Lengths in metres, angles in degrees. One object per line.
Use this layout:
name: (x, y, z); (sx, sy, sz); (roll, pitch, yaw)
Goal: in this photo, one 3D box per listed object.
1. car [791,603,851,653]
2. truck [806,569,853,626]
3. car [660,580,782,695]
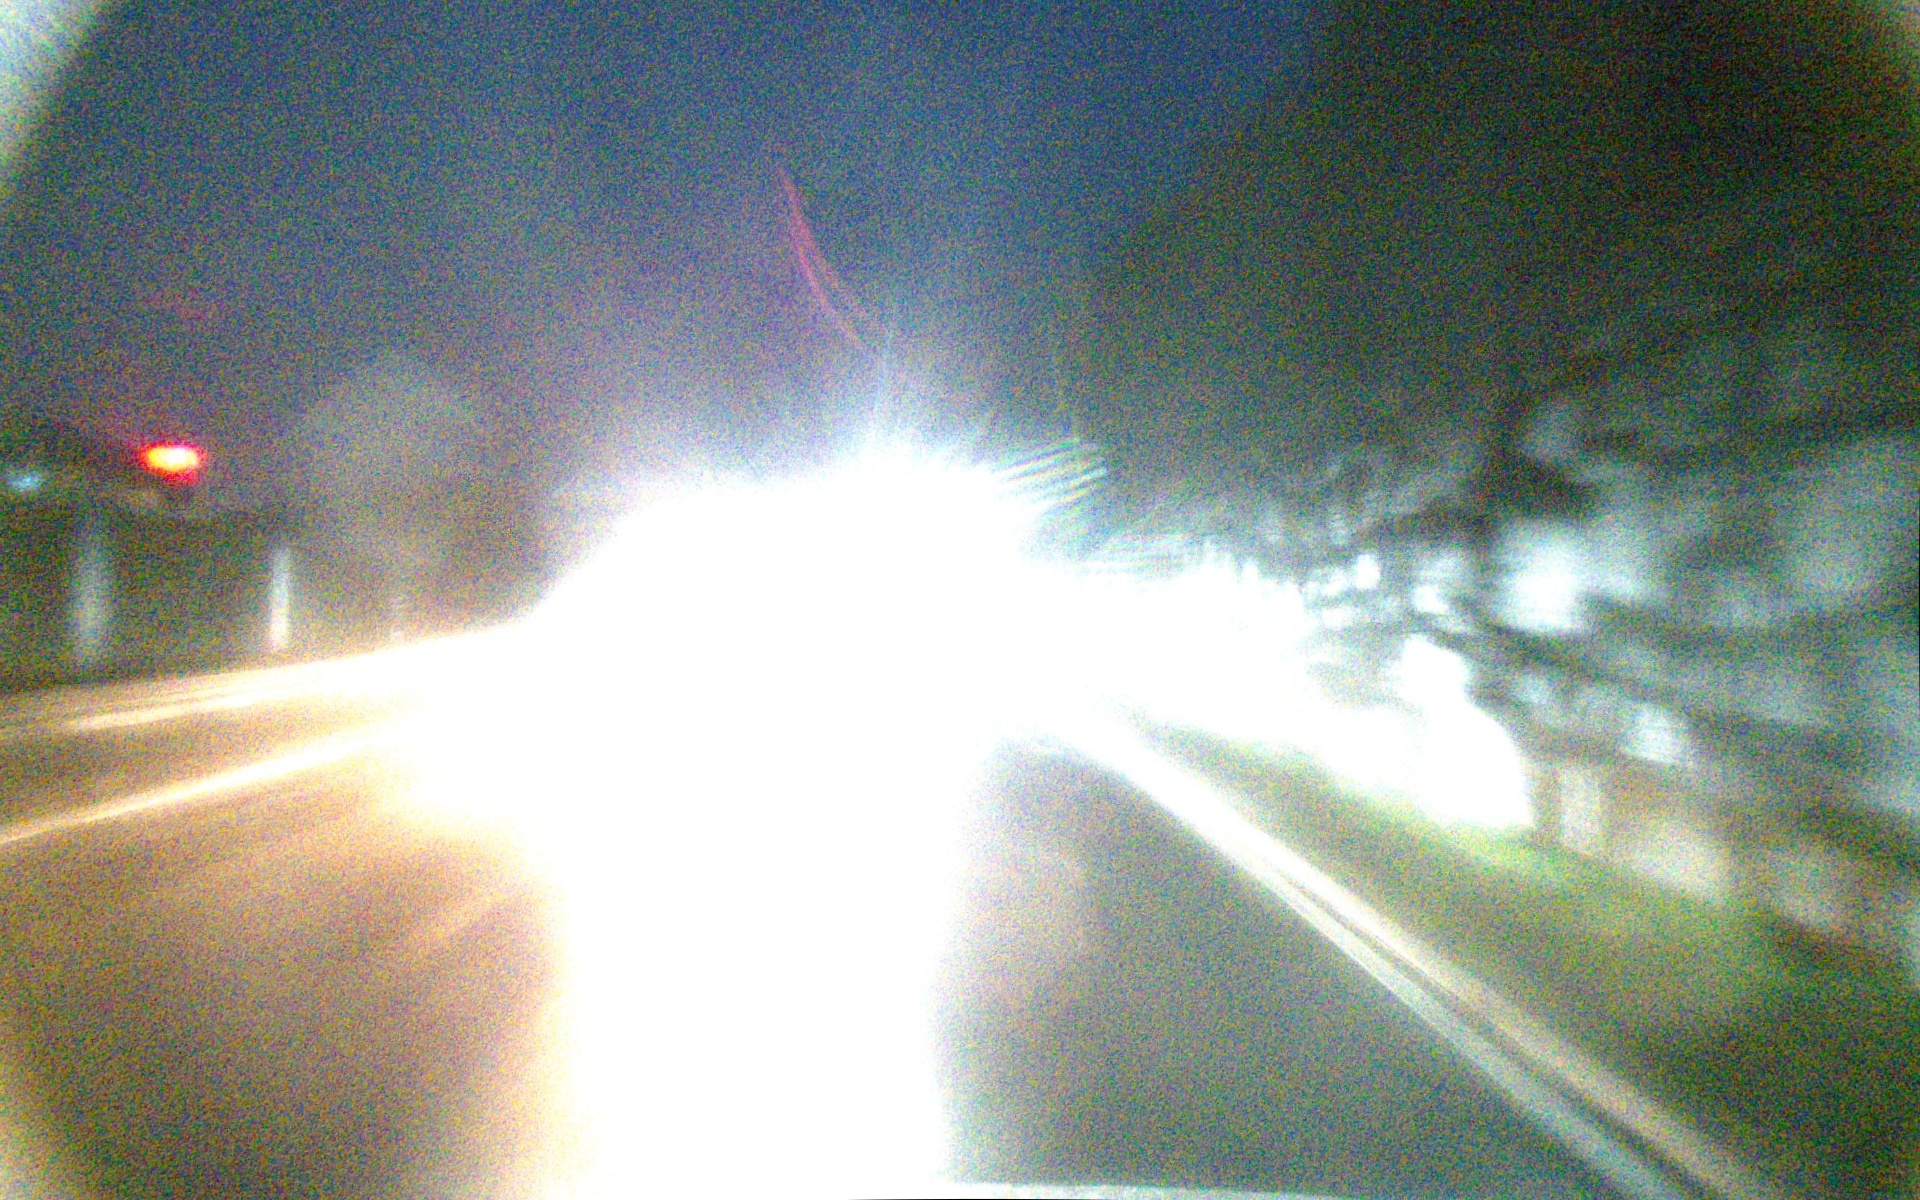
car: (-4.673, 0.912, 56.079); (1.847, 1.603, 4.048); (1, 0, -2)
truck: (-6.177, -0.119, 78.560); (2.095, 2.579, 5.275); (1, 0, -4)
car: (-4.136, 0.609, 29.117); (1.707, 1.855, 3.876); (1, 0, -2)
